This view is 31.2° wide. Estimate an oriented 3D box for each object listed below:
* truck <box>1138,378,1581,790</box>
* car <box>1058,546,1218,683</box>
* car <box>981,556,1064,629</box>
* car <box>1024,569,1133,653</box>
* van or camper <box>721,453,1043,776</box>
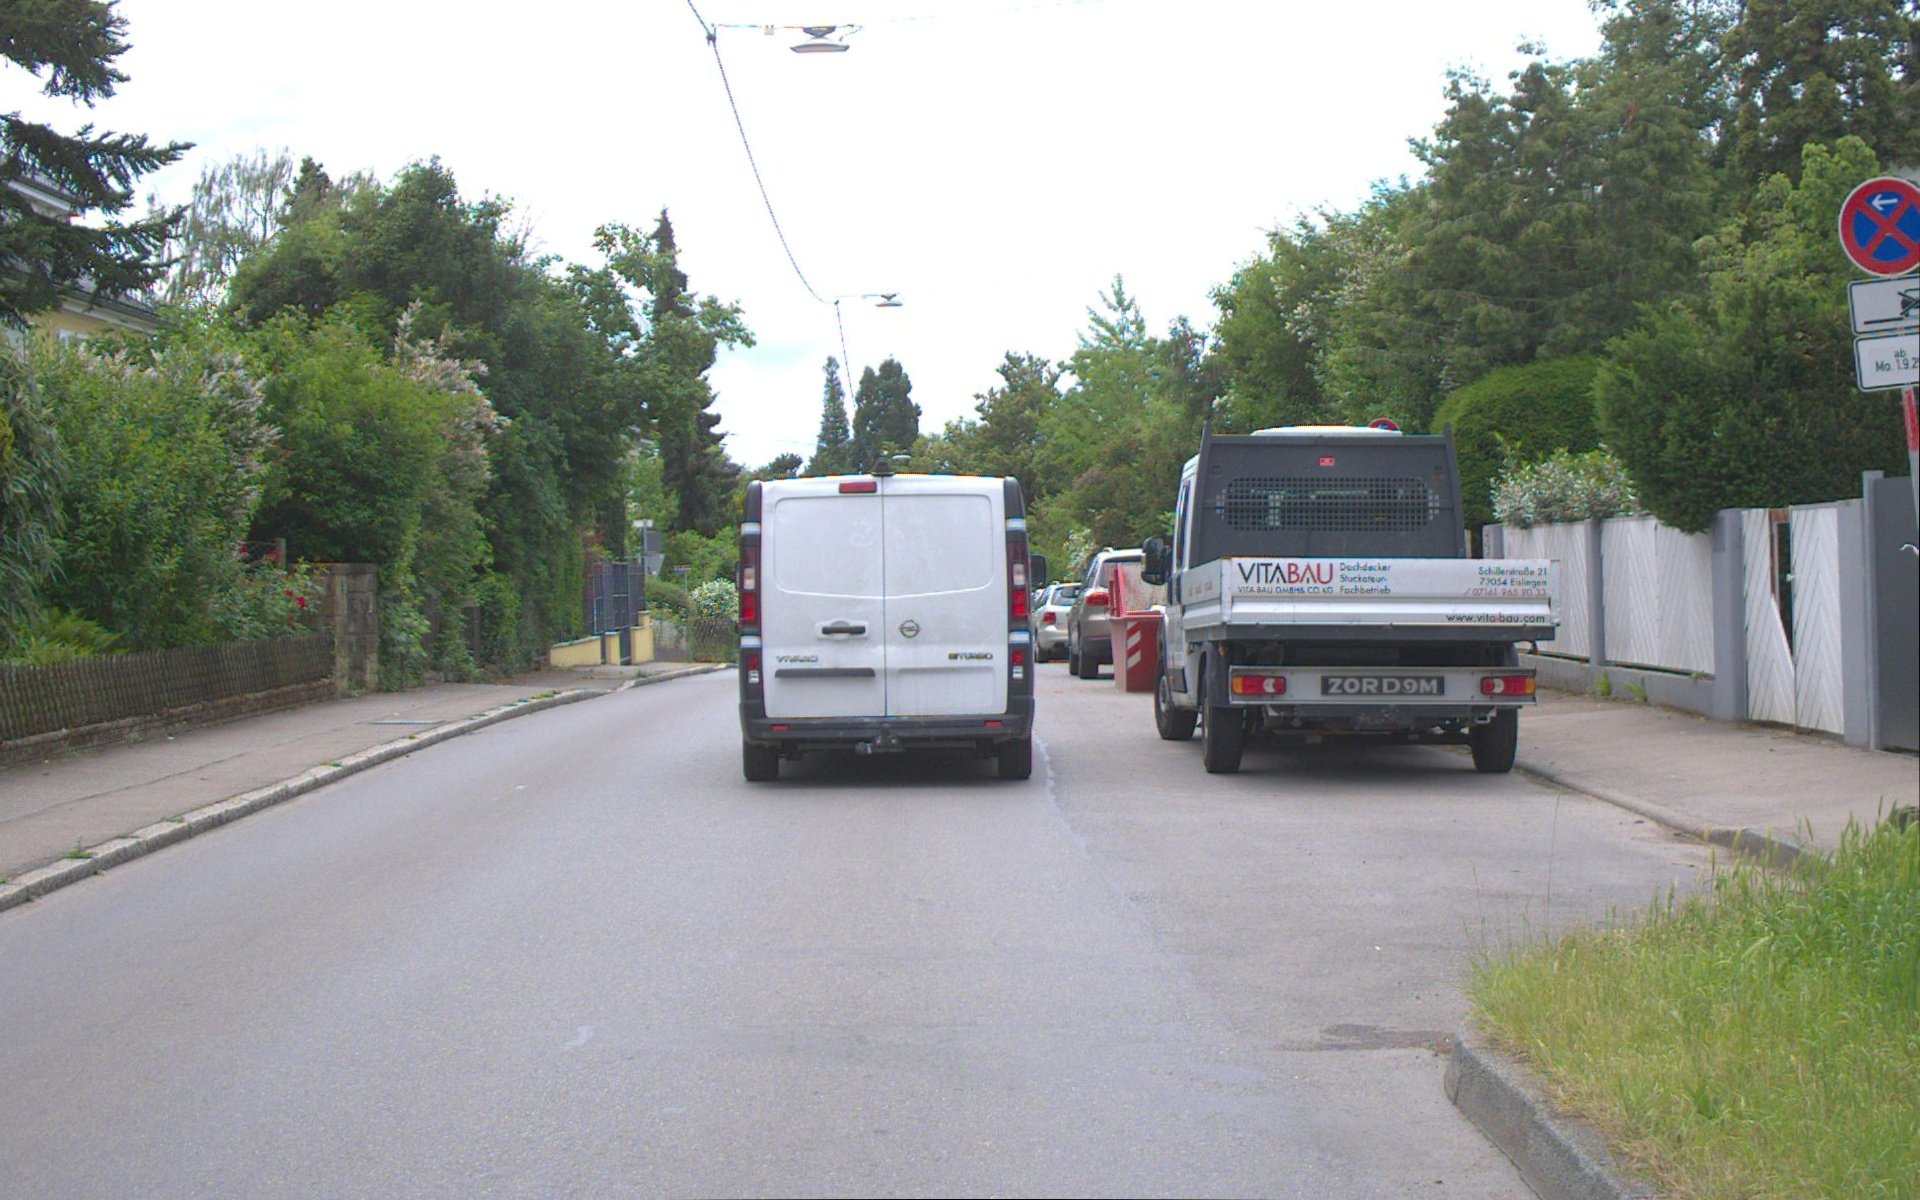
[{"bbox_3d":[2.586,-0.128,24.312,2.187,2.463,7.431,0,0,-1],"label":"truck"},{"bbox_3d":[2.291,0.183,45.152,1.744,1.669,4.185,-2,0,-1],"label":"car"},{"bbox_3d":[1.440,-0.170,80.853,1.744,1.624,4.259,-2,0,-1],"label":"car"},{"bbox_3d":[2.166,0.199,63.699,1.744,1.442,4.259,-2,0,-1],"label":"car"},{"bbox_3d":[-0.518,0.113,23.143,1.939,1.947,4.765,0,-1,-1],"label":"van or camper"}]
